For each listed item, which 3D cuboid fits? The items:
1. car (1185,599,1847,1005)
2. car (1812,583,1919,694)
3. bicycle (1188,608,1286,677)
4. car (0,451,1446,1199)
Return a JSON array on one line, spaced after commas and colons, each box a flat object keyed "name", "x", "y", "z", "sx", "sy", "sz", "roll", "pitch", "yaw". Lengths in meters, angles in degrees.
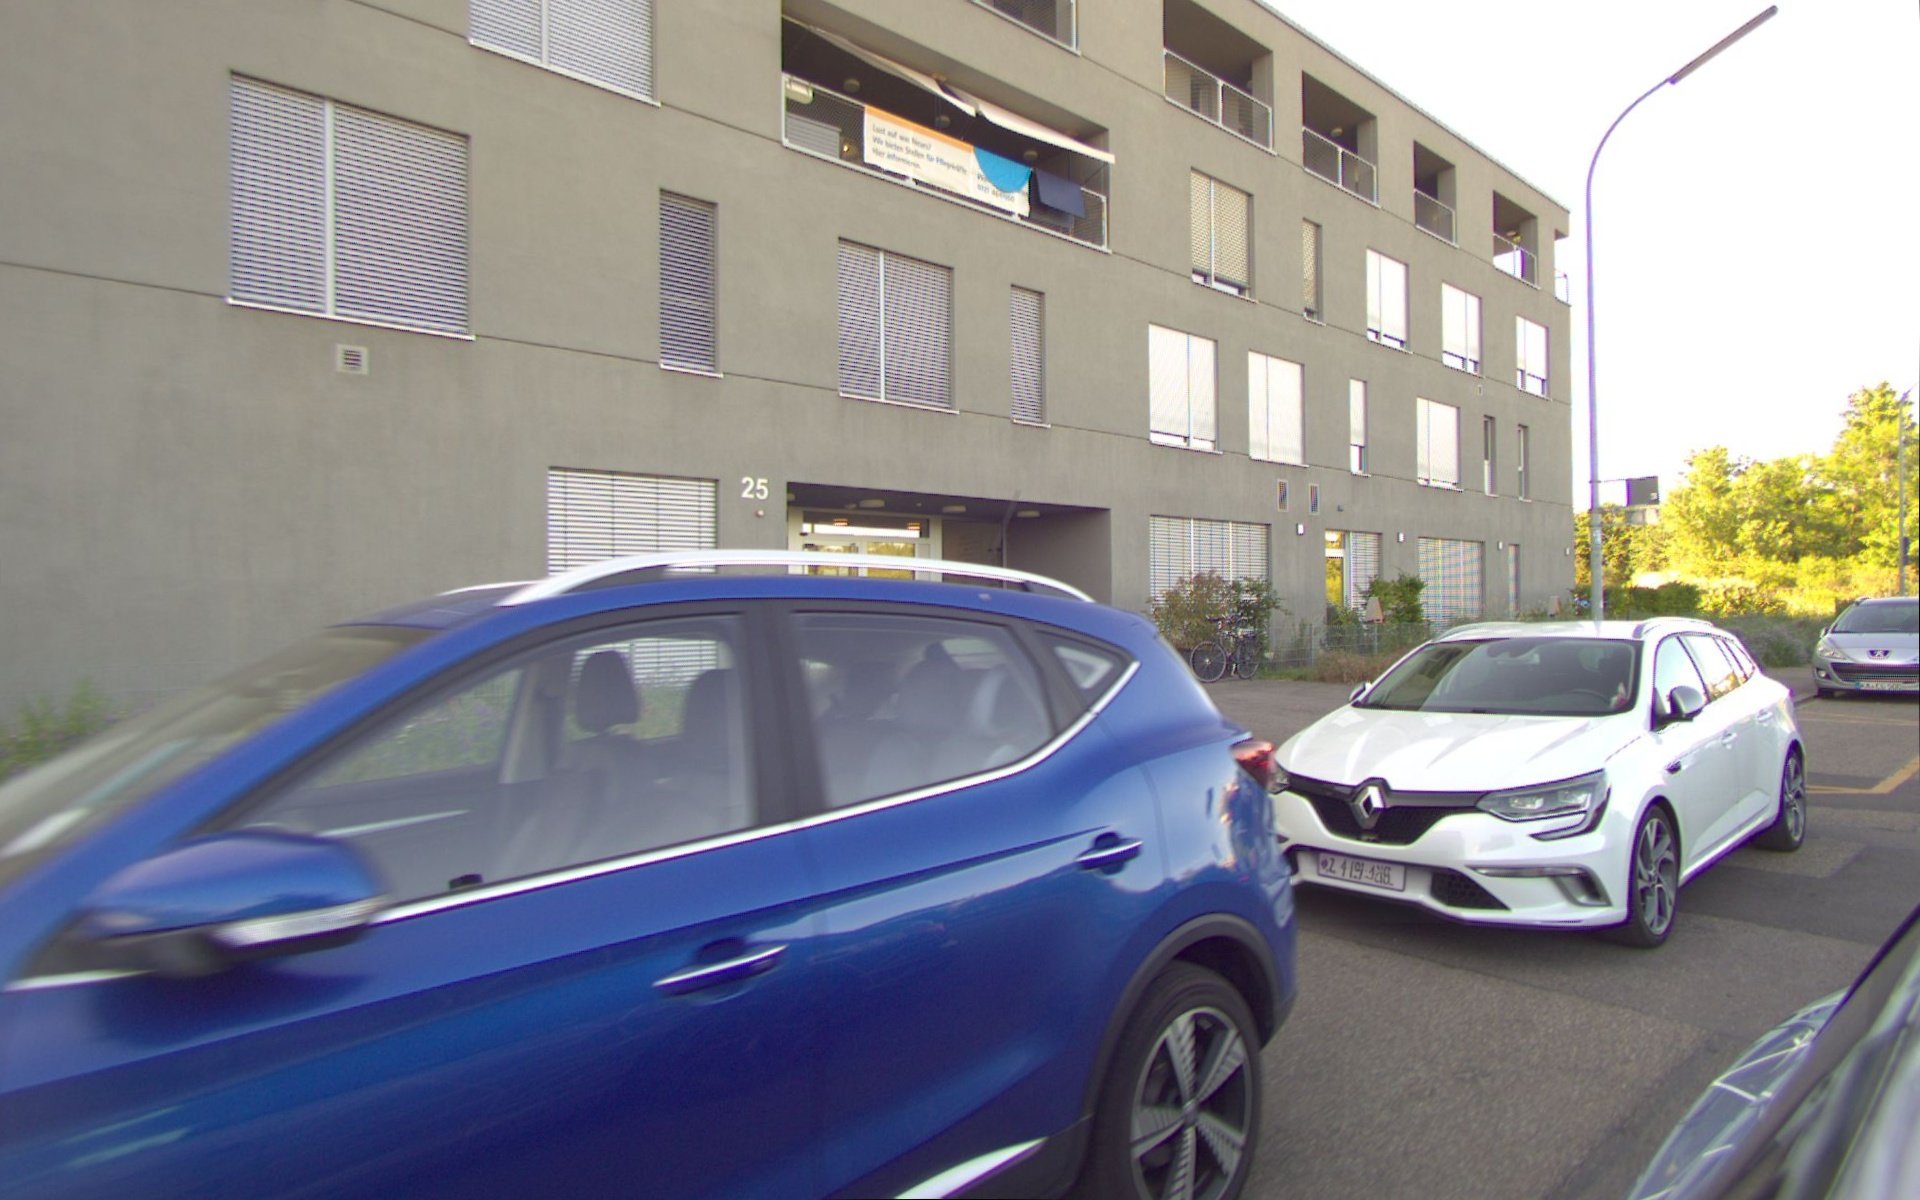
[{"name": "car", "x": 3.439, "y": 0.768, "z": 5.832, "sx": 4.503, "sy": 1.448, "sz": 1.748, "roll": -1, "pitch": -2, "yaw": -39}, {"name": "car", "x": 14.757, "y": 0.528, "z": 15.598, "sx": 4.080, "sy": 1.546, "sz": 1.710, "roll": -1, "pitch": -1, "yaw": -39}, {"name": "bicycle", "x": 4.632, "y": 0.680, "z": 16.884, "sx": 1.807, "sy": 1.075, "sz": 0.553, "roll": -1, "pitch": -1, "yaw": -36}, {"name": "car", "x": -0.919, "y": 0.694, "z": 2.161, "sx": 4.546, "sy": 1.620, "sz": 1.819, "roll": 0, "pitch": -2, "yaw": -41}]
